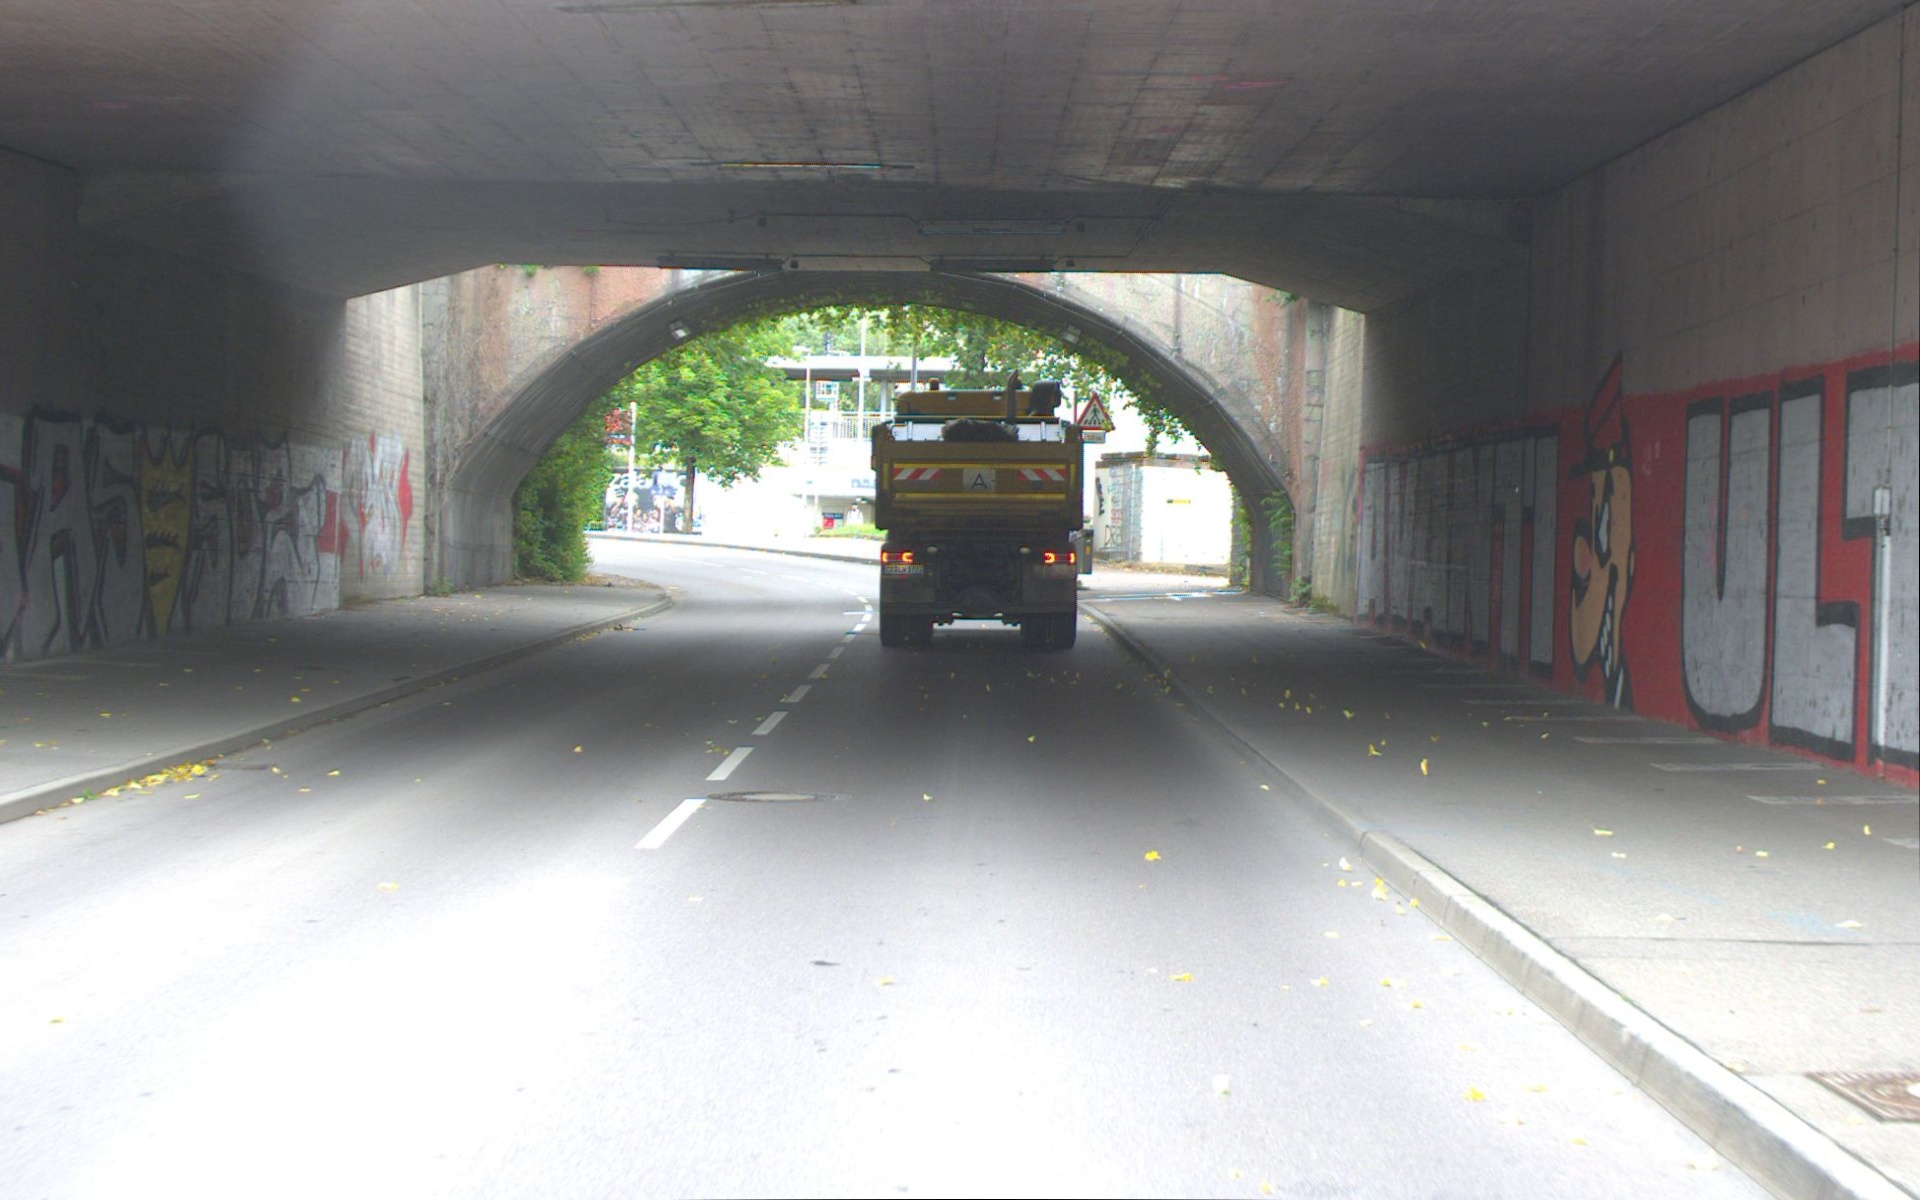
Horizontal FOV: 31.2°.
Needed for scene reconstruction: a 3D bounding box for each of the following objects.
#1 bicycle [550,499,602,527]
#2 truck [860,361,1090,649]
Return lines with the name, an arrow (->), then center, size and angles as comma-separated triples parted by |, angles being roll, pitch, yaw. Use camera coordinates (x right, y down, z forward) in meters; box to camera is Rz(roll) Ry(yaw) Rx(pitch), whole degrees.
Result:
bicycle -> -14.737, -3.327, 131.895 | 1.966, 0.862, 0.511 | 6, -1, -39
truck -> 0.334, -1.324, 45.787 | 2.765, 3.471, 8.129 | 0, 2, 2
